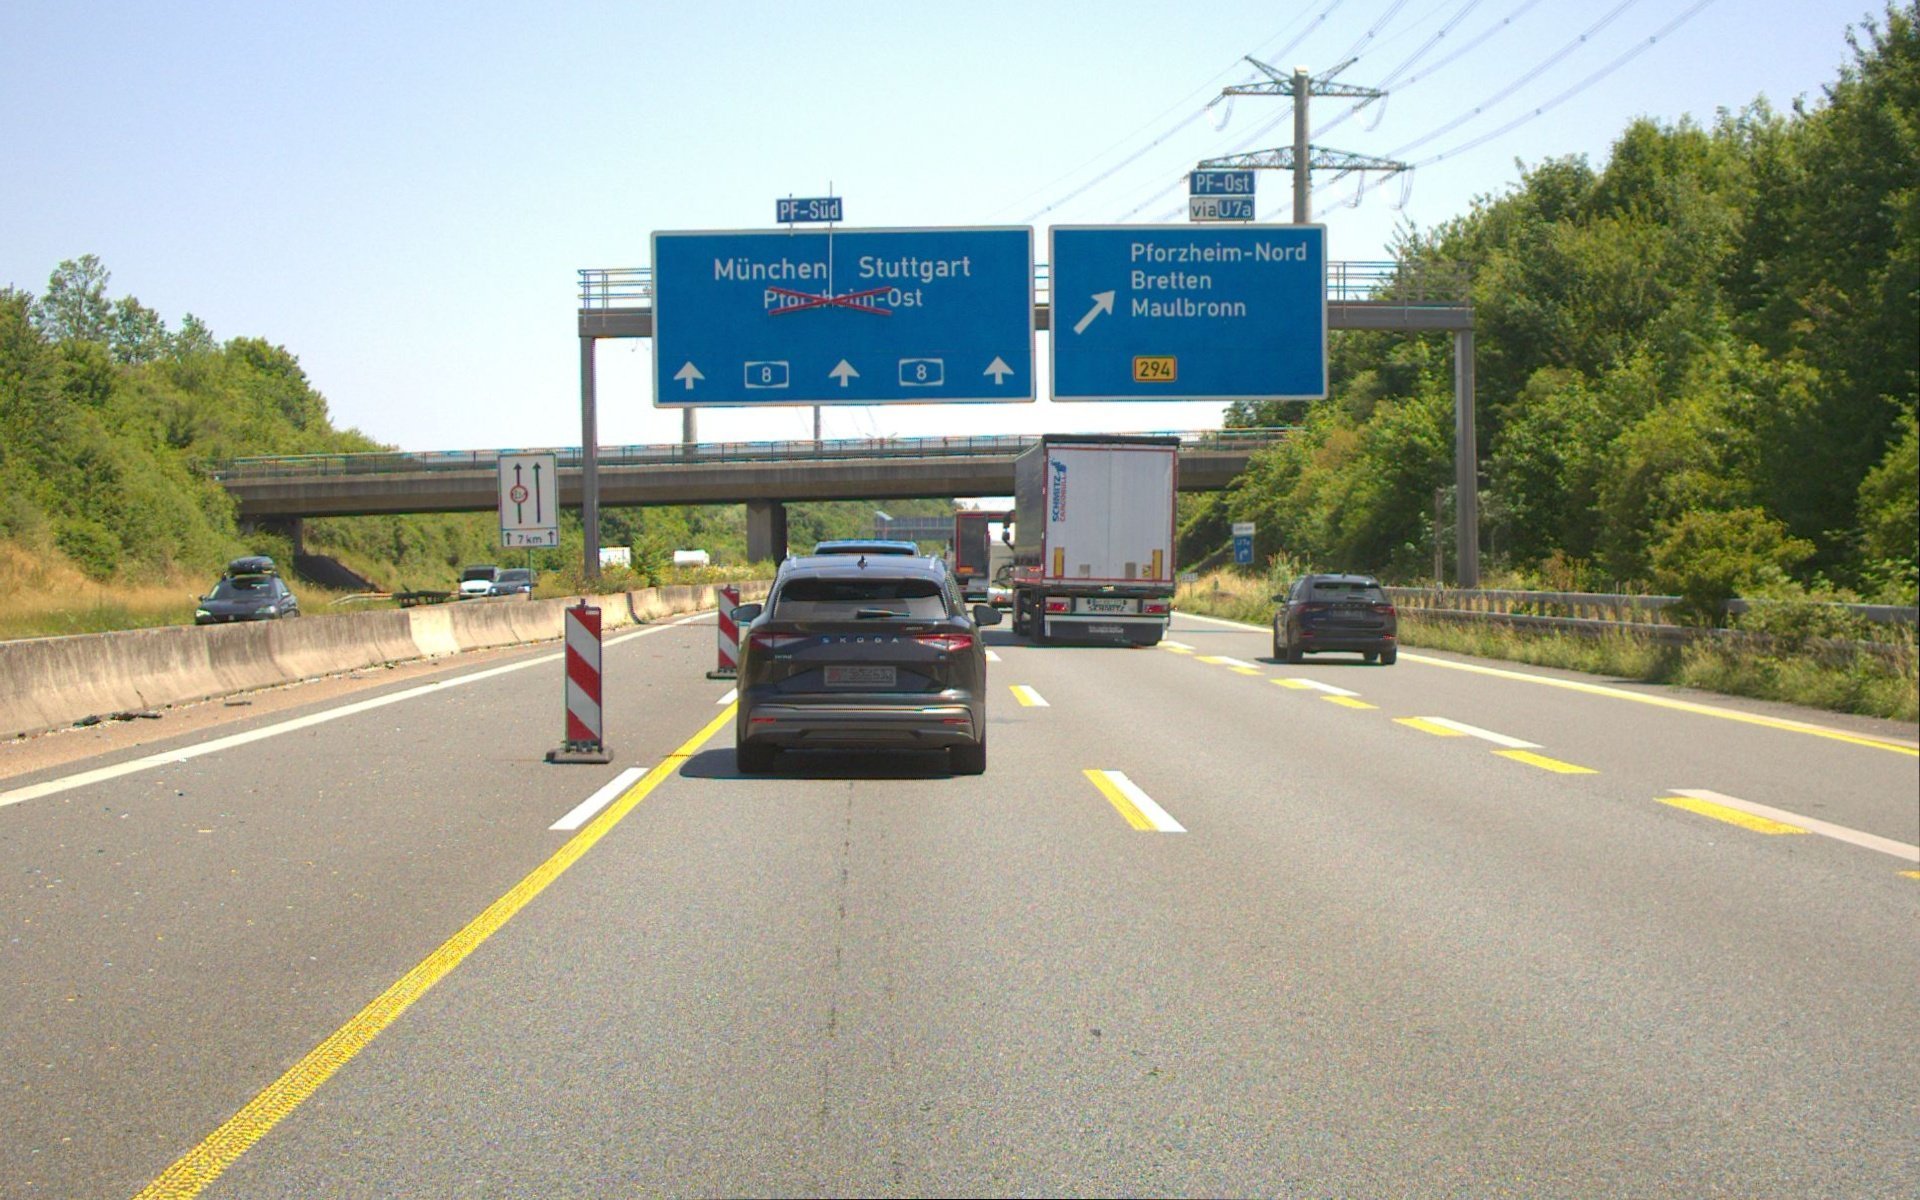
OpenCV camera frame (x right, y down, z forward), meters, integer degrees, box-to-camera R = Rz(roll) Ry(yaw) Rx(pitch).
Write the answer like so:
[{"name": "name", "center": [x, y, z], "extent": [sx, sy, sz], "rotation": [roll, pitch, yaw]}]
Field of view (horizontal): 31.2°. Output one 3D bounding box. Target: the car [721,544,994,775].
[{"name": "car", "center": [-0.788, 0.381, 26.335], "extent": [1.895, 1.586, 4.443], "rotation": [1, 1, -2]}]

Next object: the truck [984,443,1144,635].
[{"name": "truck", "center": [2.243, -1.351, 77.166], "extent": [3.024, 4.073, 7.796], "rotation": [1, 1, -2]}]

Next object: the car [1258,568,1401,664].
[{"name": "car", "center": [6.101, 0.232, 57.176], "extent": [1.779, 1.484, 4.464], "rotation": [1, 1, -1]}]

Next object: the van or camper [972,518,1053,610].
[{"name": "van or camper", "center": [1.713, -1.217, 115.275], "extent": [2.586, 2.958, 6.085], "rotation": [1, 1, 0]}]

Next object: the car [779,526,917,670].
[{"name": "car", "center": [-1.671, -0.073, 51.455], "extent": [1.895, 1.835, 4.443], "rotation": [3, 3, -2]}]

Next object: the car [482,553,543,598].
[{"name": "car", "center": [-17.897, -1.003, 137.563], "extent": [1.913, 1.747, 4.566], "rotation": [1, 1, -1]}]

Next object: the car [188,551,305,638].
[{"name": "car", "center": [-15.437, -0.148, 74.549], "extent": [1.741, 1.812, 4.623], "rotation": [-1, 1, -3]}]

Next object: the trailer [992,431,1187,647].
[{"name": "trailer", "center": [2.482, -1.216, 70.169], "extent": [3.065, 4.029, 11.489], "rotation": [0, 1, -2]}]

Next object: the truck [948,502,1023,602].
[{"name": "truck", "center": [1.093, -2.102, 151.180], "extent": [3.078, 4.132, 13.054], "rotation": [1, 1, 0]}]
